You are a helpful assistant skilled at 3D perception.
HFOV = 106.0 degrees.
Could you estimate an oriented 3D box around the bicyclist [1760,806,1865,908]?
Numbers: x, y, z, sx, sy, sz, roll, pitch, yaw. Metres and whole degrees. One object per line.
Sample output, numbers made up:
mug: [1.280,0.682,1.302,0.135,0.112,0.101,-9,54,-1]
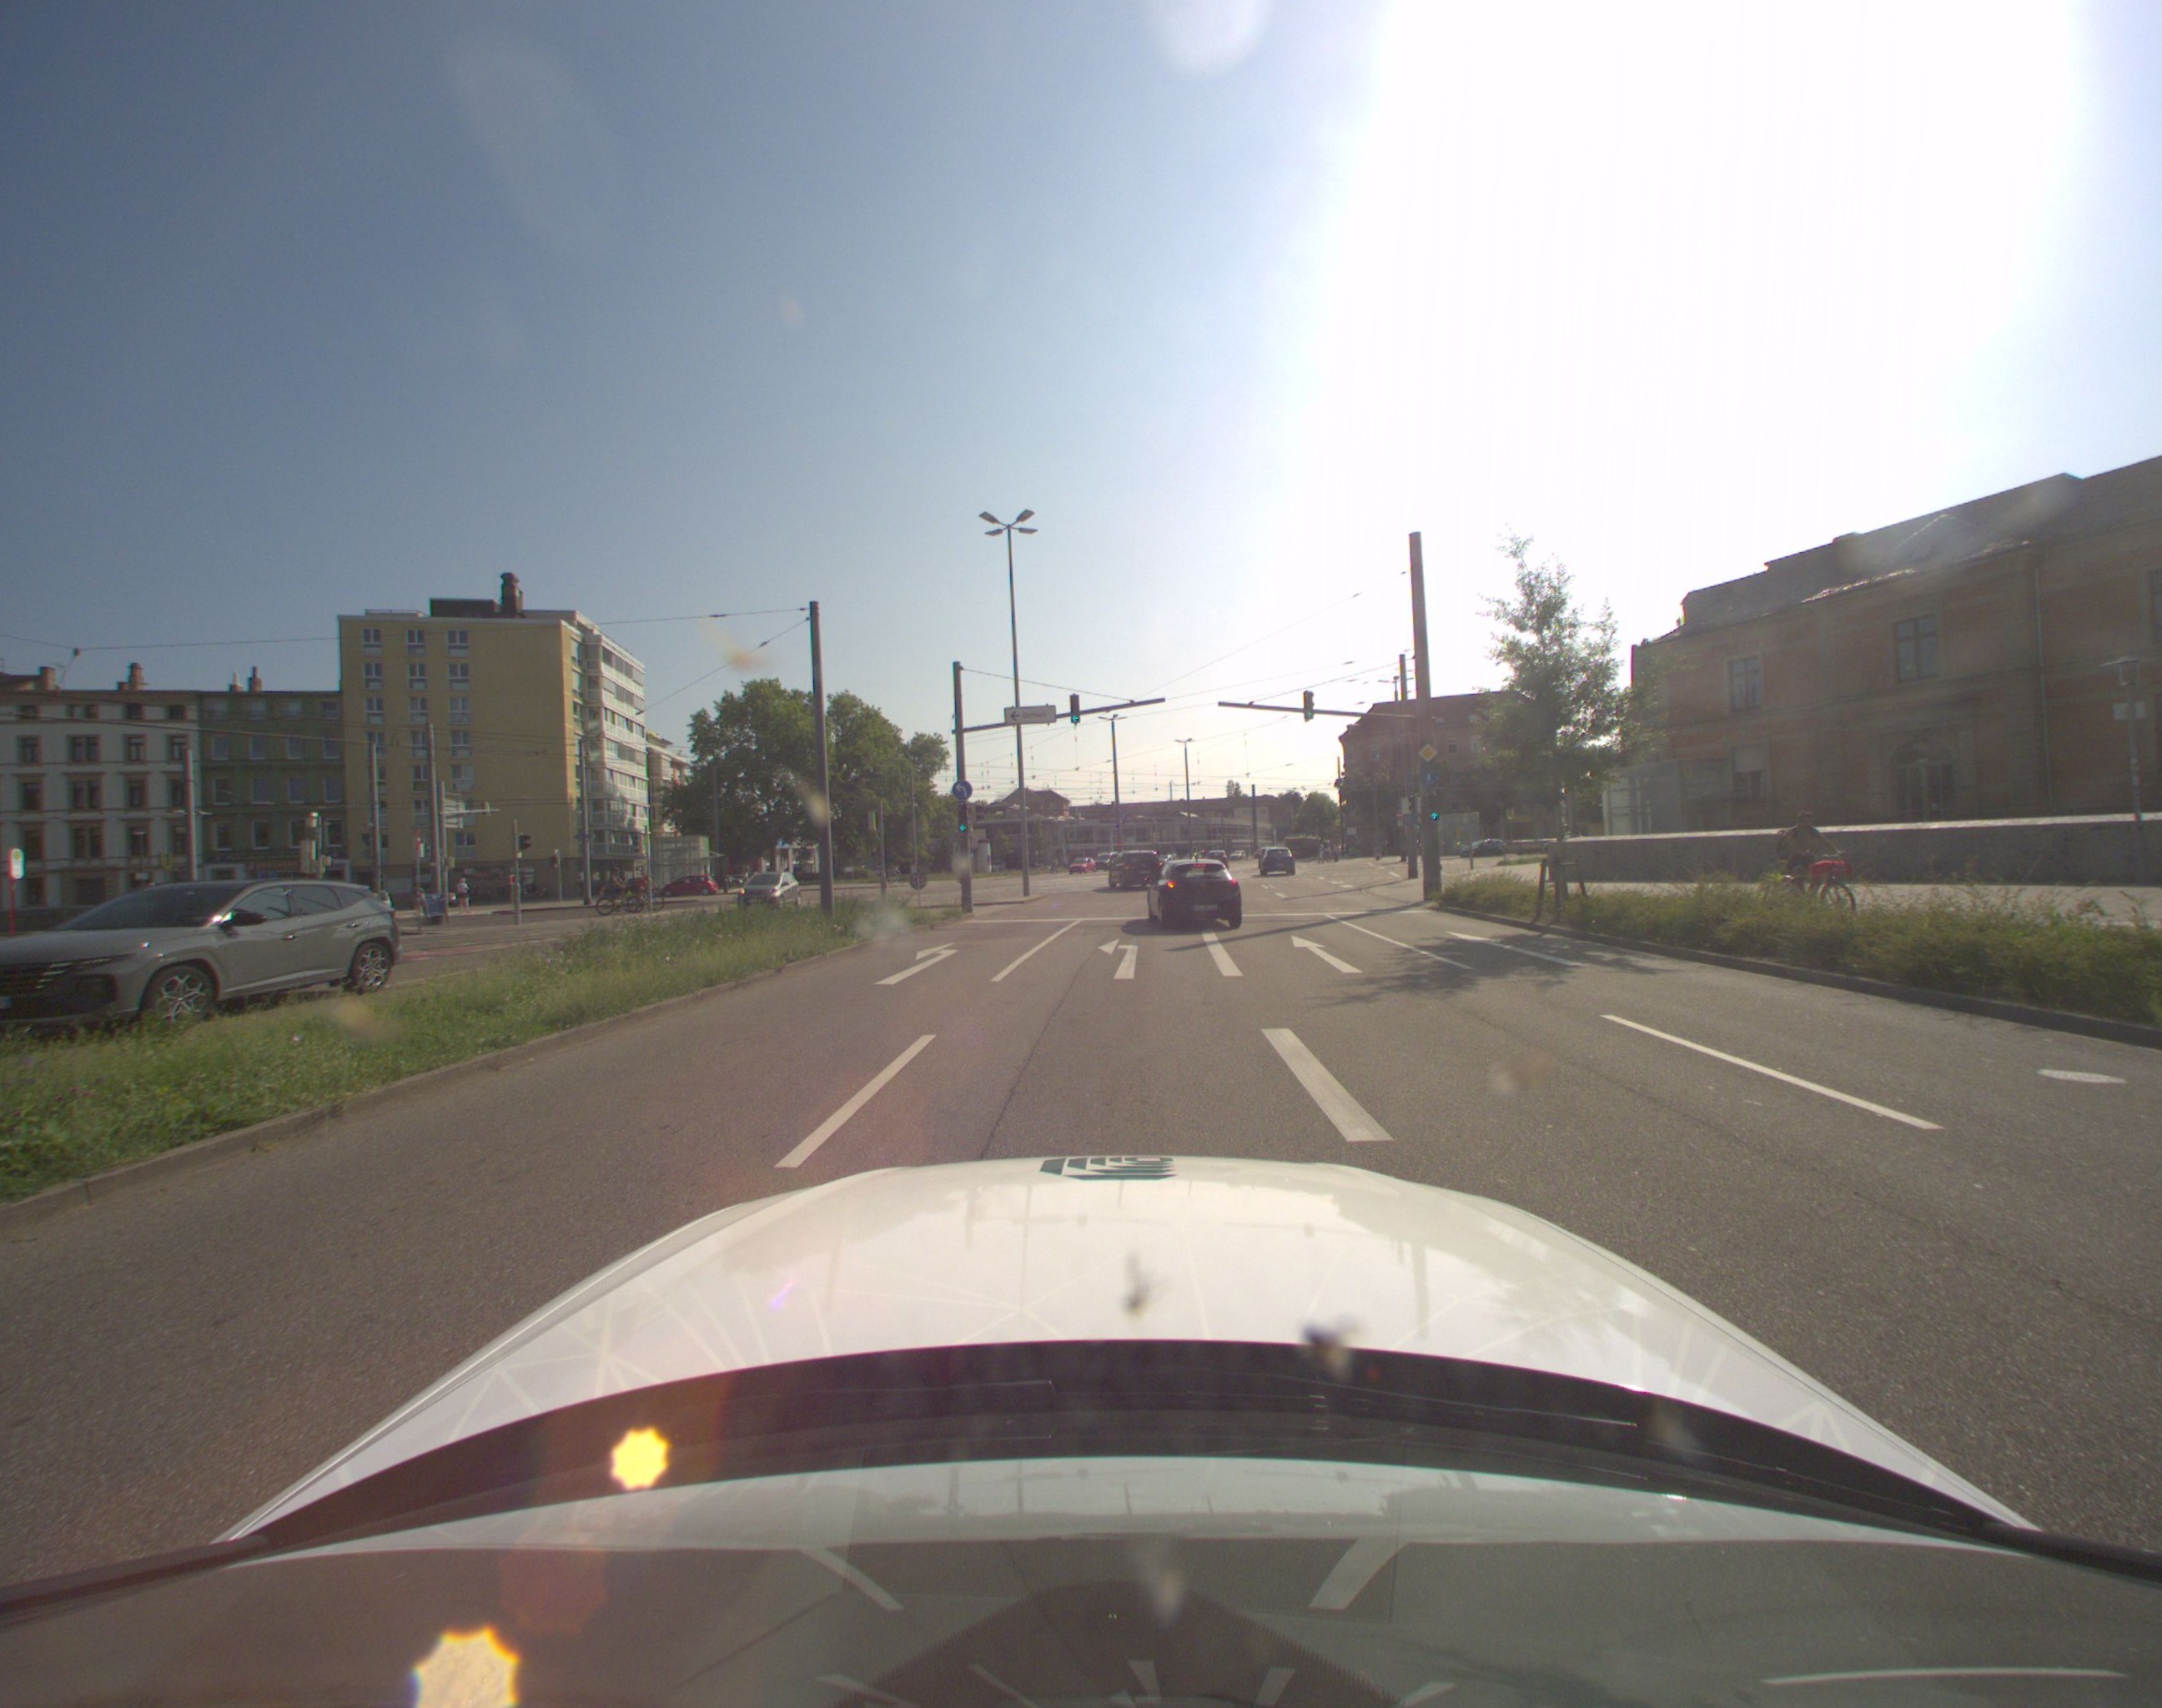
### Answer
bicyclist: [11.496,0.048,12.839,0.716,1.513,1.006,-3,-1,5]

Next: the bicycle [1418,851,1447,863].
bicycle: [31.778,0.237,73.591,2.636,0.964,1.082,-2,-2,-33]

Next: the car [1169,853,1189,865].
car: [13.294,0.668,110.029,1.600,1.475,4.021,-5,-1,21]

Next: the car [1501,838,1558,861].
car: [40.488,-0.406,73.533,4.712,1.859,1.896,-2,-1,-21]

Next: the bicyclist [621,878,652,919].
bicyclist: [-18.888,1.868,34.612,0.880,1.652,0.724,-2,0,-7]

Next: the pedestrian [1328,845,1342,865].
pedestrian: [24.403,0.093,78.342,0.932,1.797,0.850,-2,0,-36]

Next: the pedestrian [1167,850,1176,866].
pedestrian: [8.613,0.352,77.529,0.773,1.503,0.712,-3,0,9]

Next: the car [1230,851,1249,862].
car: [23.098,0.321,118.736,1.599,1.475,4.024,-5,-1,27]

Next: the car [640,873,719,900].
car: [-27.145,2.151,55.170,4.404,1.535,1.823,-3,0,-14]

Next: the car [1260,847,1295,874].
car: [11.291,0.333,46.876,1.813,1.428,4.428,-3,0,13]

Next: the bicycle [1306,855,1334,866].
bicycle: [22.650,0.617,77.246,2.636,0.964,1.082,-2,0,-33]

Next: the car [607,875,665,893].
car: [-38.829,2.630,71.184,4.163,1.354,1.474,-2,0,-14]

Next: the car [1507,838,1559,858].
car: [44.776,-0.587,80.643,4.264,1.859,1.923,-2,-1,-13]

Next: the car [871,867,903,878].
car: [-28.838,2.744,121.187,1.683,1.522,4.544,-2,-1,36]

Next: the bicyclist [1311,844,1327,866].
bicyclist: [22.588,0.075,77.229,0.940,2.024,1.082,-2,0,-32]

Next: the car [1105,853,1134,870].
car: [3.753,0.750,79.618,1.601,1.475,4.020,-5,-1,20]

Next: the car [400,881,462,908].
car: [-45.094,2.808,56.473,4.491,1.678,2.013,-2,-1,33]

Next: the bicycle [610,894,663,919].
bicycle: [-18.868,2.223,34.609,1.811,0.932,0.724,-2,0,-7]

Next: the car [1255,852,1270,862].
car: [29.695,0.531,133.166,1.600,1.475,4.021,-5,-1,21]

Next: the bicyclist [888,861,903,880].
bicyclist: [-15.694,1.426,68.877,1.163,1.527,0.957,-3,0,-10]

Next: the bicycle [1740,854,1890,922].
bicycle: [11.521,0.505,12.879,0.716,0.960,1.924,-3,0,5]

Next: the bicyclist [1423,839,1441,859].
bicyclist: [31.657,-0.459,73.533,0.940,1.708,1.082,-2,0,-32]

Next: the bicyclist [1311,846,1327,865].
bicyclist: [23.206,0.183,79.481,0.937,1.800,1.086,-2,0,-19]

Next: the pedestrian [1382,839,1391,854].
pedestrian: [31.773,-0.764,84.734,0.671,1.471,0.540,-2,-1,-40]

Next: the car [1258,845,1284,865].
car: [14.594,0.034,62.528,1.813,1.428,4.428,-3,0,13]

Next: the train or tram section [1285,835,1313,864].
train or tram section: [30.814,-0.680,114.804,2.632,3.699,10.643,-3,0,20]

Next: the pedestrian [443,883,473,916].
pedestrian: [-32.670,2.370,42.715,0.923,1.690,0.918,-2,-1,-13]

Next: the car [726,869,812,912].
car: [-12.089,1.376,31.836,1.882,1.452,3.675,-3,0,0]

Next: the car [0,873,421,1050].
car: [-10.659,1.107,10.088,1.692,1.617,4.450,-3,0,-7]

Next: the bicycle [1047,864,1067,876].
bicycle: [-2.350,1.578,78.821,0.949,1.057,2.622,-2,0,21]

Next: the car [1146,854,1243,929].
car: [2.457,0.755,18.549,1.676,1.492,4.373,-1,0,1]

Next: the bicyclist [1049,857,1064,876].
bicyclist: [-2.352,1.234,78.848,0.949,1.748,1.172,-2,-1,21]

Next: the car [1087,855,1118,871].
car: [2.257,0.891,84.930,1.944,1.475,4.020,-5,-1,20]

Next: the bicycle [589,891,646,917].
bicycle: [-18.926,2.044,33.283,1.811,0.932,0.724,-2,0,-7]

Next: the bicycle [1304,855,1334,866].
bicycle: [23.238,0.604,79.486,2.626,0.964,1.086,-2,0,-20]

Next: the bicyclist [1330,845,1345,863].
bicyclist: [25.467,-0.001,80.808,0.937,1.680,1.086,-2,0,-19]

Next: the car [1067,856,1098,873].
car: [0.204,0.963,77.920,1.601,1.475,4.020,-5,-1,20]

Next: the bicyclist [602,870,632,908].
bicyclist: [-18.944,1.420,33.288,0.793,1.527,0.724,-2,0,-7]

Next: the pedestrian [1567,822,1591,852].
pedestrian: [28.176,-0.956,46.066,0.911,1.690,0.930,-3,-1,45]

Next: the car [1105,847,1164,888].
car: [2.423,0.582,37.707,1.824,1.714,4.400,-2,0,-8]

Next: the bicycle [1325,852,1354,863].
bicycle: [25.663,0.358,80.877,2.626,0.964,1.086,-2,0,-20]

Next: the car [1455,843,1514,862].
car: [33.677,-0.113,67.975,4.393,1.397,2.008,-2,0,-23]

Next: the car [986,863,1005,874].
car: [-12.376,2.109,118.238,1.689,1.522,4.110,-2,0,9]

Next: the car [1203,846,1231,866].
car: [11.409,0.127,68.125,1.812,1.535,4.430,-3,0,15]

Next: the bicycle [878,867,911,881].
bicycle: [-15.735,1.663,68.869,2.600,1.057,0.957,-3,-1,-10]
